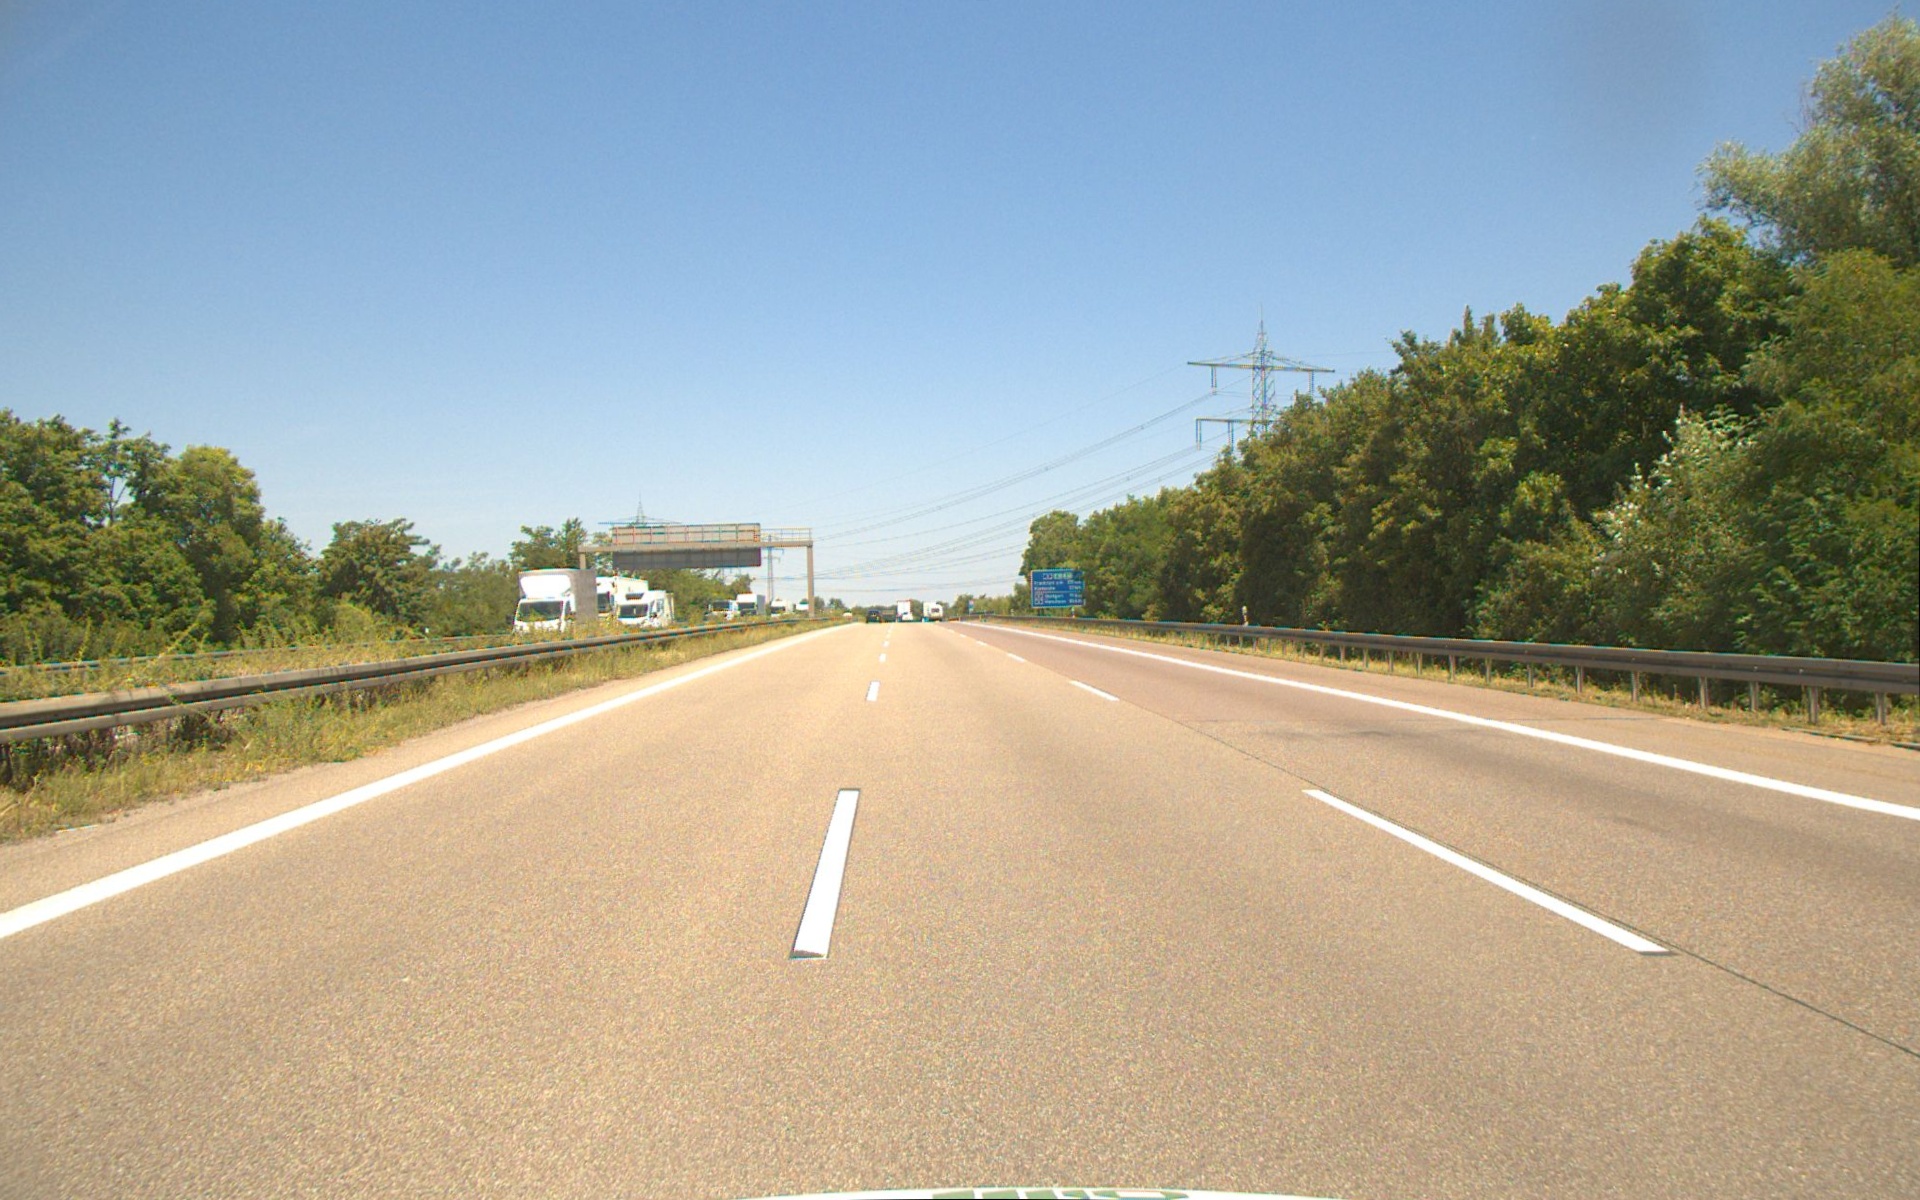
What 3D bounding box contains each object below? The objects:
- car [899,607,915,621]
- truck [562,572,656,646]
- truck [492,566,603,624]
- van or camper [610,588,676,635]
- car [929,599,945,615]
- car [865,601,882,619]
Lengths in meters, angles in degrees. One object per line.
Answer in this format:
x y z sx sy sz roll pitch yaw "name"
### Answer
-8.047 2.083 249.737 2.132 1.963 4.612 -2 0 1 "car"
-23.972 0.598 114.103 3.152 4.453 17.183 -4 0 -2 "truck"
-16.267 -0.179 65.743 2.673 2.103 7.136 -2 0 -1 "truck"
-18.742 0.657 98.109 2.418 2.604 7.807 -2 0 -1 "van or camper"
-3.070 0.926 221.660 1.954 2.049 3.998 -2 0 -3 "car"
-9.668 1.115 184.629 1.755 2.049 3.886 0 0 -2 "car"
